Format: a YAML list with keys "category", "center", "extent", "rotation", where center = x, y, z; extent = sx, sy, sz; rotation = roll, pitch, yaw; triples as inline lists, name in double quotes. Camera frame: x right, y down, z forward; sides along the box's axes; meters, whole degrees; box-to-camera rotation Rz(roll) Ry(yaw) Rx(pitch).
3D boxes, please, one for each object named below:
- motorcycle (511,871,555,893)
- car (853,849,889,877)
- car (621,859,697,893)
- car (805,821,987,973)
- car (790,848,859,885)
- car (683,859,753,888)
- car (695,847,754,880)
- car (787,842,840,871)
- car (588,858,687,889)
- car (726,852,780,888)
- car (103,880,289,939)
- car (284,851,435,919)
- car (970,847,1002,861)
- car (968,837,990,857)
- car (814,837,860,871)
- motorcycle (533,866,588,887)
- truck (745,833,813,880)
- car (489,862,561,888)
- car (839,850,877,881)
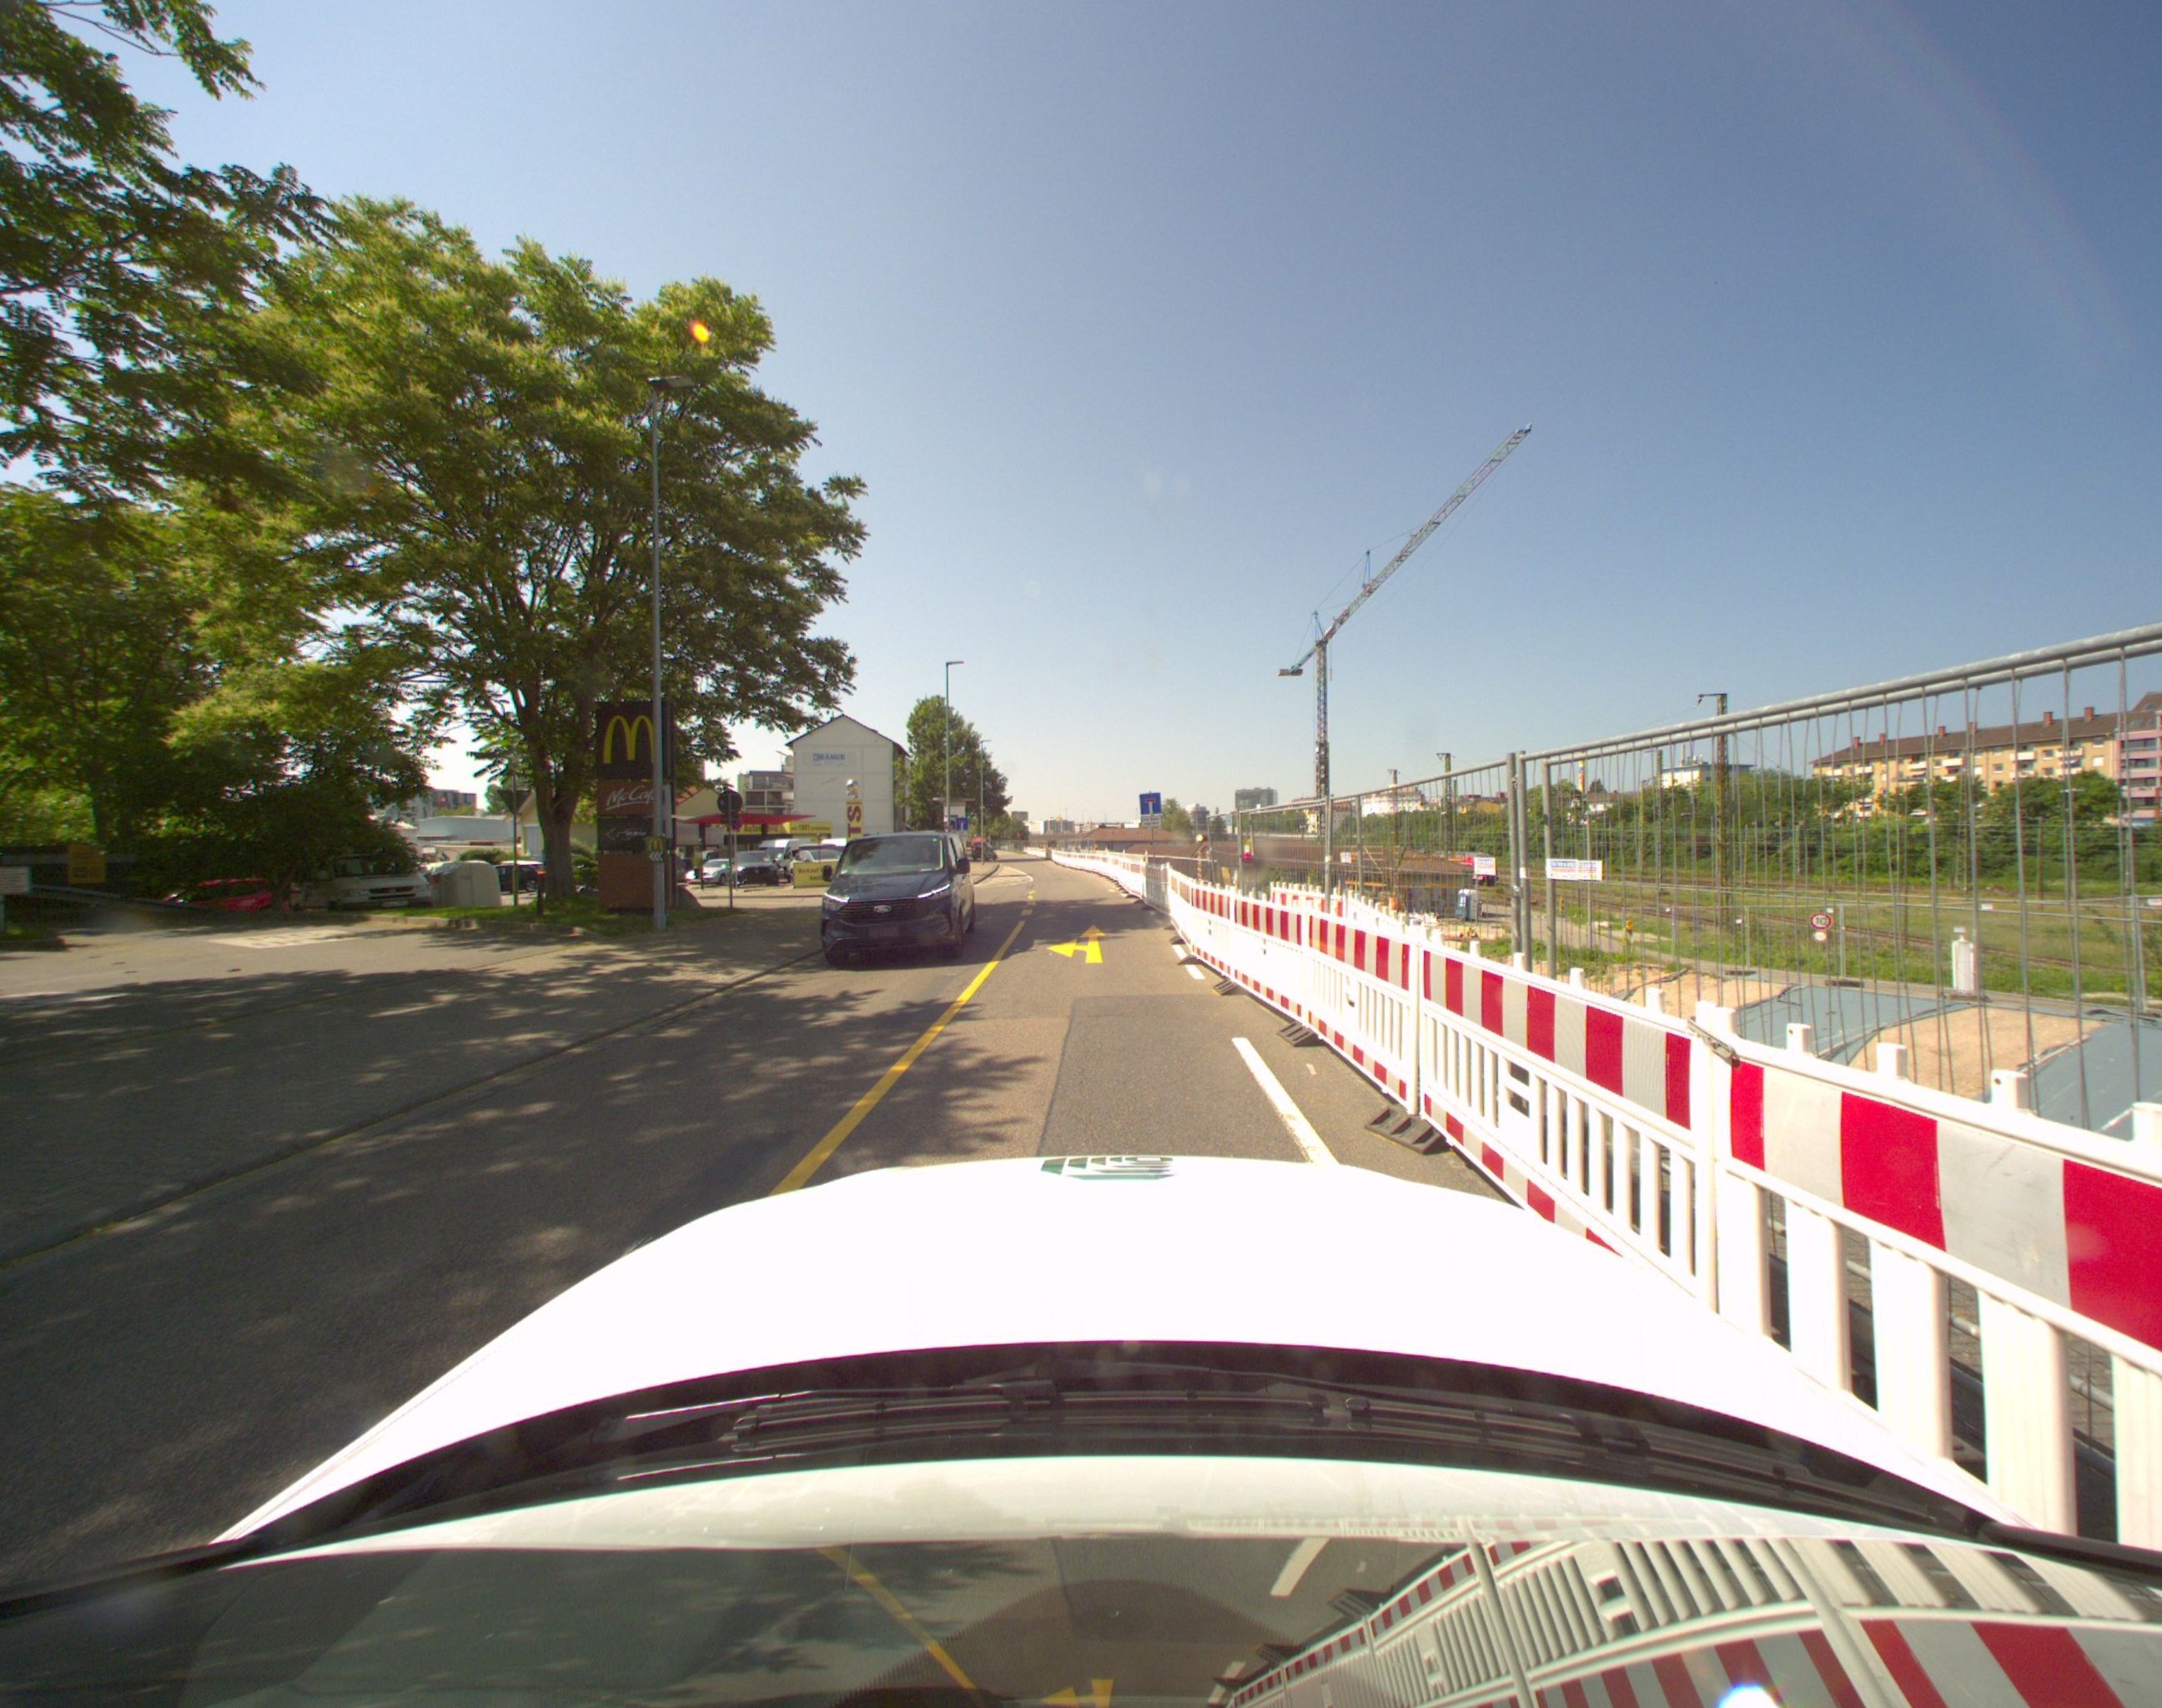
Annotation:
- category: "motorcycle"
  center: [-30.371, 1.541, 45.157]
  extent: [0.779, 1.158, 1.886]
  rotation: [-1, -1, 37]
- category: "car"
  center: [-13.052, 0.515, 50.486]
  extent: [1.862, 1.629, 3.976]
  rotation: [-1, 0, -18]
- category: "car"
  center: [-19.925, 0.989, 38.638]
  extent: [1.785, 1.510, 3.993]
  rotation: [0, 0, -5]
- category: "car"
  center: [-2.848, 0.544, 13.916]
  extent: [2.173, 1.967, 5.436]
  rotation: [-3, 1, -5]
- category: "car"
  center: [-12.631, 0.601, 39.991]
  extent: [2.009, 1.725, 3.954]
  rotation: [0, -1, -38]
- category: "car"
  center: [-19.777, 1.037, 44.523]
  extent: [1.780, 1.487, 4.005]
  rotation: [0, 0, 5]
- category: "car"
  center: [-22.922, 0.590, 52.541]
  extent: [1.989, 2.014, 4.490]
  rotation: [0, 0, -3]
- category: "car"
  center: [-16.671, 0.130, 50.990]
  extent: [1.872, 1.738, 4.718]
  rotation: [0, 0, -2]
- category: "car"
  center: [-23.943, 0.997, 44.058]
  extent: [4.358, 1.585, 1.976]
  rotation: [0, -1, -42]
- category: "car"
  center: [-15.421, 0.711, 38.161]
  extent: [2.057, 1.594, 4.385]
  rotation: [0, 0, -26]
- category: "car"
  center: [-26.024, 1.566, 24.080]
  extent: [1.468, 1.378, 3.436]
  rotation: [1, 2, 27]
- category: "car"
  center: [-19.037, 0.721, 21.418]
  extent: [4.966, 1.583, 1.970]
  rotation: [1, 0, 36]
- category: "car"
  center: [-10.984, -0.011, 93.955]
  extent: [3.300, 1.637, 1.705]
  rotation: [0, -1, -45]
- category: "car"
  center: [-13.448, -0.912, 107.766]
  extent: [2.532, 2.520, 5.111]
  rotation: [0, 0, -3]
- category: "car"
  center: [-16.988, -0.003, 57.019]
  extent: [2.132, 2.284, 4.703]
  rotation: [-1, 0, -5]
- category: "motorcycle"
  center: [-31.031, 1.317, 48.619]
  extent: [0.988, 1.227, 2.731]
  rotation: [0, 0, 18]
- category: "truck"
  center: [-19.653, 0.155, 53.364]
  extent: [2.262, 2.903, 5.941]
  rotation: [0, 0, -1]
- category: "car"
  center: [-34.438, 1.269, 50.470]
  extent: [3.950, 1.585, 2.012]
  rotation: [0, 0, 27]
- category: "car"
  center: [-12.366, 0.580, 45.036]
  extent: [1.862, 1.629, 3.976]
  rotation: [-1, 0, -18]
